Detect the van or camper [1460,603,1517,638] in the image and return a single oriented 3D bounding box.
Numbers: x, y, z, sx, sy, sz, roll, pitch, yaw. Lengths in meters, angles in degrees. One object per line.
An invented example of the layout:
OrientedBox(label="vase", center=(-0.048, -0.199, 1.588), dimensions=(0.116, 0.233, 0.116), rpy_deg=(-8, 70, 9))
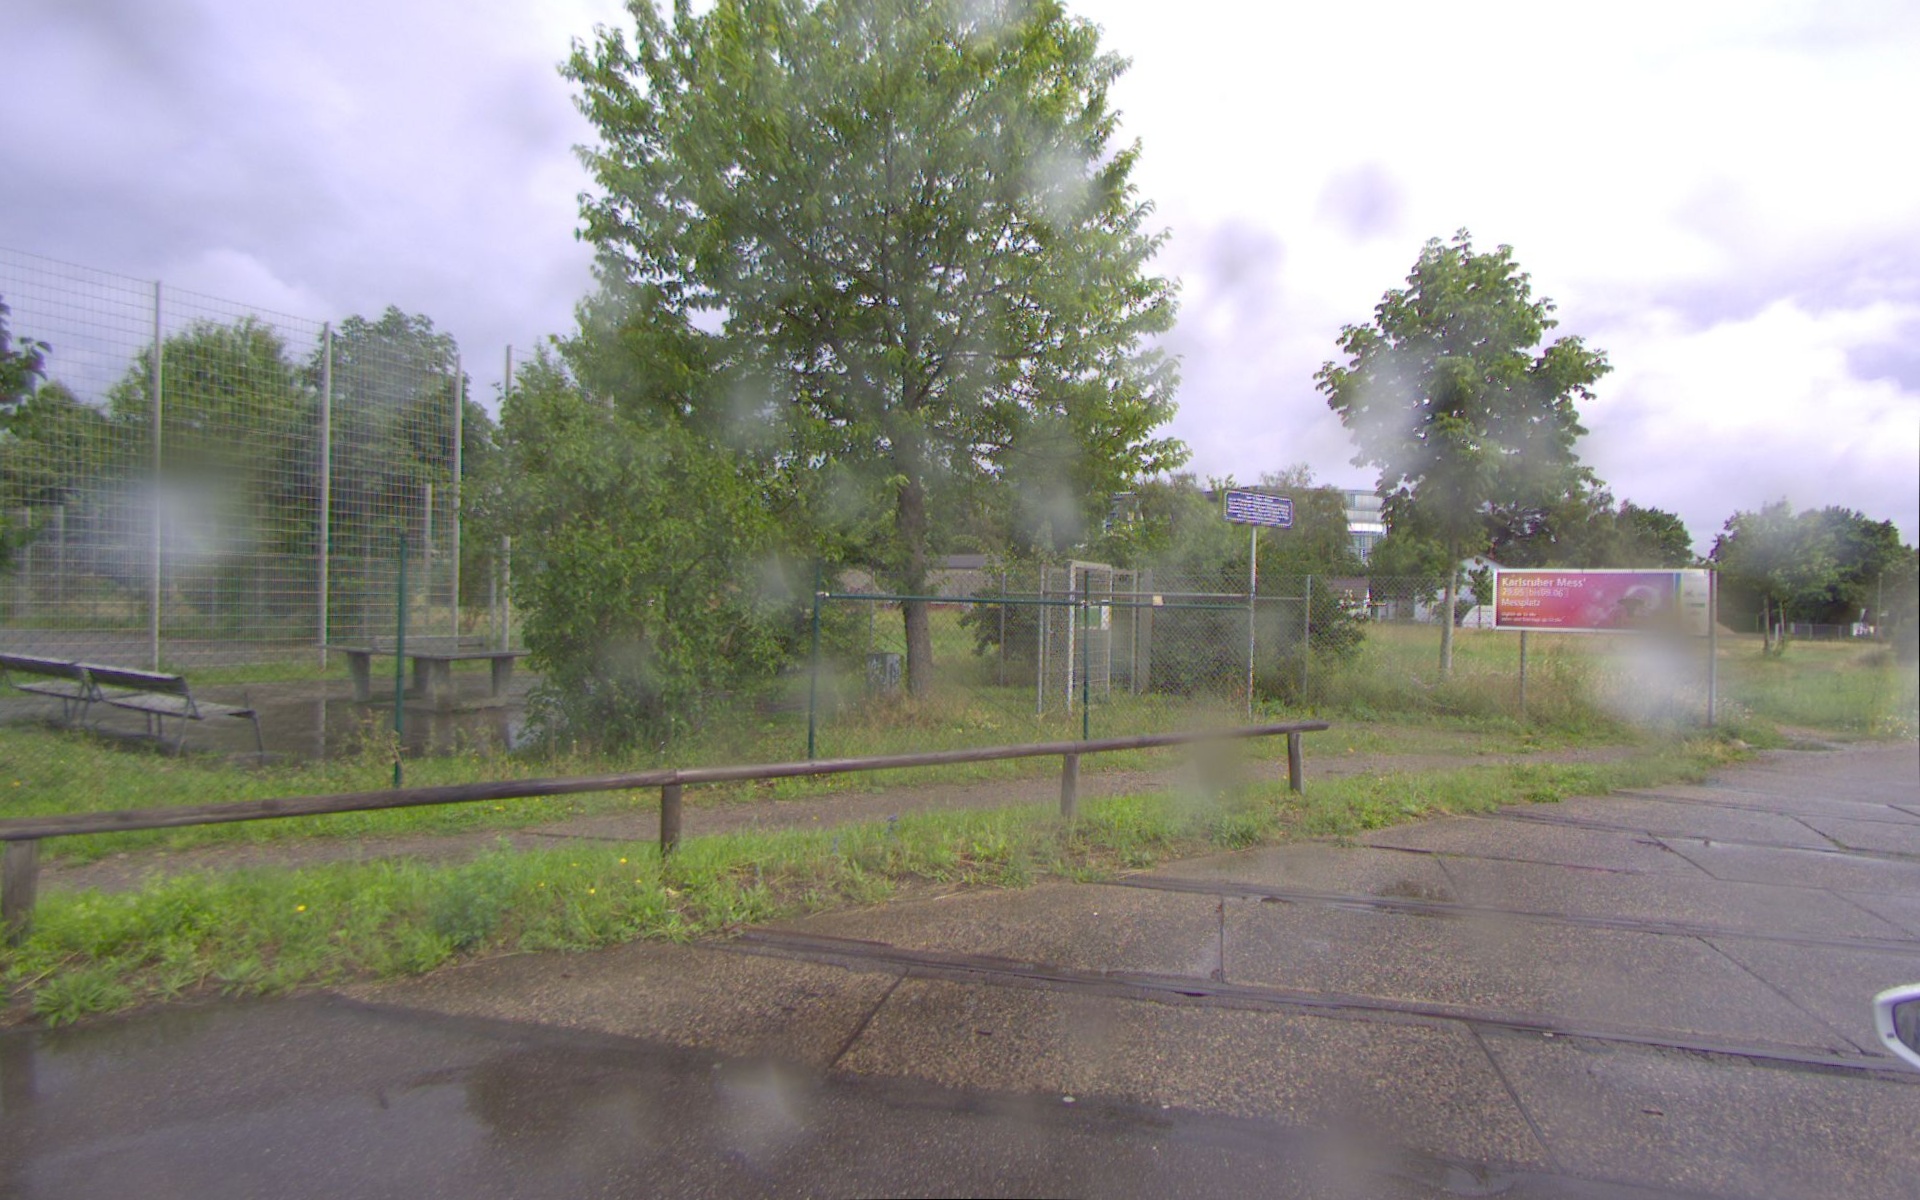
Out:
OrientedBox(label="van or camper", center=(48.173, 1.856, 91.567), dimensions=(4.436, 2.985, 2.479), rpy_deg=(1, 0, 31))

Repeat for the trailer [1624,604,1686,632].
OrientedBox(label="trailer", center=(59.027, 1.527, 85.387), dimensions=(4.038, 2.117, 1.842), rpy_deg=(3, 1, 28))
